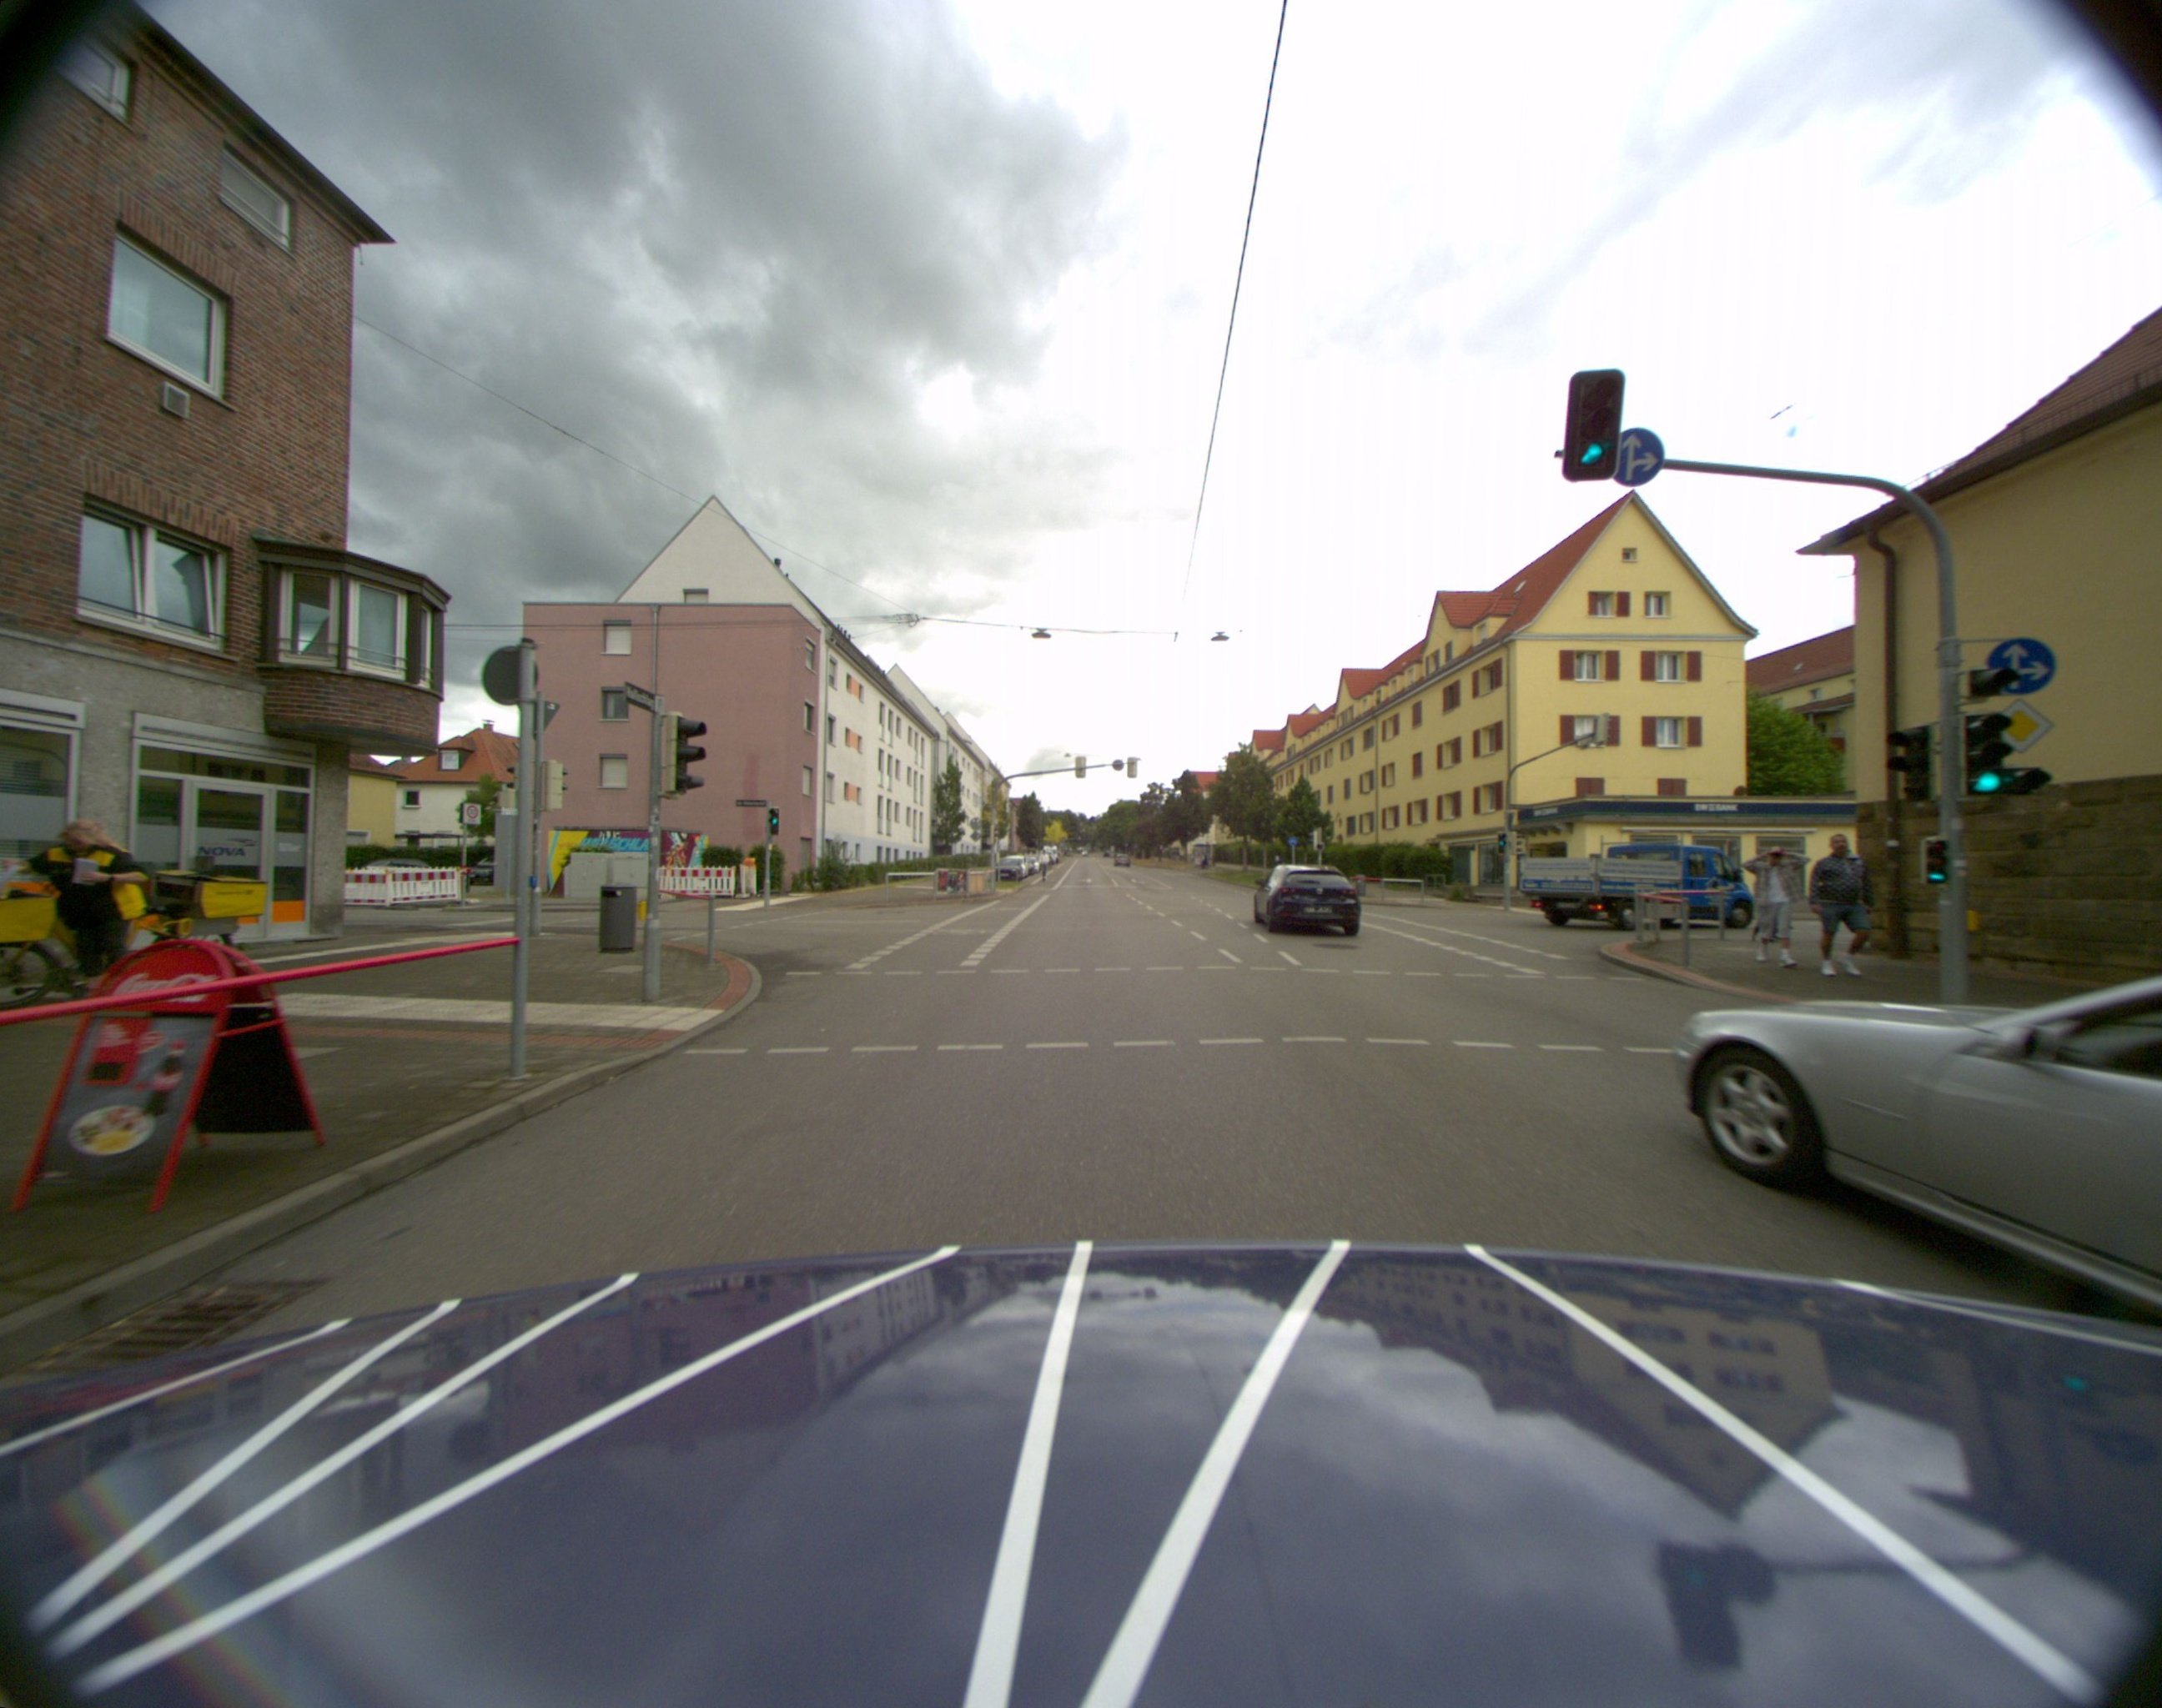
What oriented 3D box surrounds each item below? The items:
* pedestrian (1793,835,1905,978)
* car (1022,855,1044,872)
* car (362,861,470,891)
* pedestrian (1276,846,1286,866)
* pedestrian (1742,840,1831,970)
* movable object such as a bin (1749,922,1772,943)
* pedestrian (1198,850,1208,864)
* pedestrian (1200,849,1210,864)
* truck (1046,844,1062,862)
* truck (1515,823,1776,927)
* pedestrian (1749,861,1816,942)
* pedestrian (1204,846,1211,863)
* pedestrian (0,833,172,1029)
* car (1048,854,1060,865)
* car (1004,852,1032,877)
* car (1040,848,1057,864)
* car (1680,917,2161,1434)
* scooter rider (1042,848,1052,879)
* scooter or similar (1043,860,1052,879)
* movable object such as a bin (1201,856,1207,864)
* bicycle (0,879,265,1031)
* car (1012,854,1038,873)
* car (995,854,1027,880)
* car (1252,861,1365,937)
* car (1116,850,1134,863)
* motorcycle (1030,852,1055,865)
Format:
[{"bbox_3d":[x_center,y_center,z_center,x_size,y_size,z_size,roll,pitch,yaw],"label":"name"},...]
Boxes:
[{"bbox_3d":[9.880,0.654,9.805,0.565,1.766,0.842,0,1,0],"label":"pedestrian"},{"bbox_3d":[-4.224,0.808,67.781,1.734,1.405,4.499,-1,0,-1],"label":"car"},{"bbox_3d":[-32.734,1.043,37.559,1.750,1.347,3.898,0,0,5],"label":"car"},{"bbox_3d":[16.545,0.154,62.934,0.642,1.610,0.618,0,1,-1],"label":"pedestrian"},{"bbox_3d":[9.924,0.694,10.709,0.565,1.766,0.717,0,1,0],"label":"pedestrian"},{"bbox_3d":[12.810,1.473,14.315,0.306,0.345,0.582,1,0,42],"label":"movable object such as a bin"},{"bbox_3d":[13.026,0.308,81.199,0.901,1.465,0.806,-1,0,1],"label":"pedestrian"},{"bbox_3d":[12.996,0.284,79.778,0.901,1.501,0.806,-1,0,1],"label":"pedestrian"},{"bbox_3d":[-3.878,-0.169,109.119,2.058,2.550,5.689,0,0,-1],"label":"truck"},{"bbox_3d":[14.749,0.559,19.844,6.418,2.413,2.298,2,0,-21],"label":"truck"},{"bbox_3d":[13.904,0.920,15.076,0.565,1.557,0.842,0,1,6],"label":"pedestrian"},{"bbox_3d":[12.825,0.007,77.270,0.598,1.717,0.861,0,1,3],"label":"pedestrian"},{"bbox_3d":[-9.145,0.660,6.904,0.790,1.646,0.772,3,1,1],"label":"pedestrian"},{"bbox_3d":[-3.670,0.721,103.694,1.529,1.477,3.726,-1,0,0],"label":"car"},{"bbox_3d":[-4.528,0.715,55.287,1.663,1.706,4.551,-1,0,0],"label":"car"},{"bbox_3d":[-4.214,0.239,98.479,1.999,1.932,5.211,0,0,0],"label":"car"},{"bbox_3d":[3.864,1.025,1.813,1.689,1.268,4.095,3,1,2],"label":"car"},{"bbox_3d":[-2.255,0.600,49.850,0.627,2.002,0.757,0,1,0],"label":"scooter rider"},{"bbox_3d":[-2.211,1.011,49.779,0.492,1.156,2.074,0,0,0],"label":"scooter or similar"},{"bbox_3d":[12.918,0.607,79.789,0.538,0.841,0.665,-1,0,2],"label":"movable object such as a bin"},{"bbox_3d":[-9.262,0.862,7.057,0.761,1.186,2.391,0,0,1],"label":"bicycle"},{"bbox_3d":[-4.541,0.733,62.048,1.750,1.459,4.948,-1,0,-1],"label":"car"},{"bbox_3d":[-4.528,0.820,49.764,1.739,1.579,4.571,-1,1,-1],"label":"car"},{"bbox_3d":[4.917,0.888,16.941,1.706,1.406,4.194,2,0,7],"label":"car"},{"bbox_3d":[5.416,0.248,93.587,1.761,1.464,4.306,3,0,-1],"label":"car"},{"bbox_3d":[-4.183,0.511,82.387,2.605,1.372,0.692,0,1,-4],"label":"motorcycle"}]
